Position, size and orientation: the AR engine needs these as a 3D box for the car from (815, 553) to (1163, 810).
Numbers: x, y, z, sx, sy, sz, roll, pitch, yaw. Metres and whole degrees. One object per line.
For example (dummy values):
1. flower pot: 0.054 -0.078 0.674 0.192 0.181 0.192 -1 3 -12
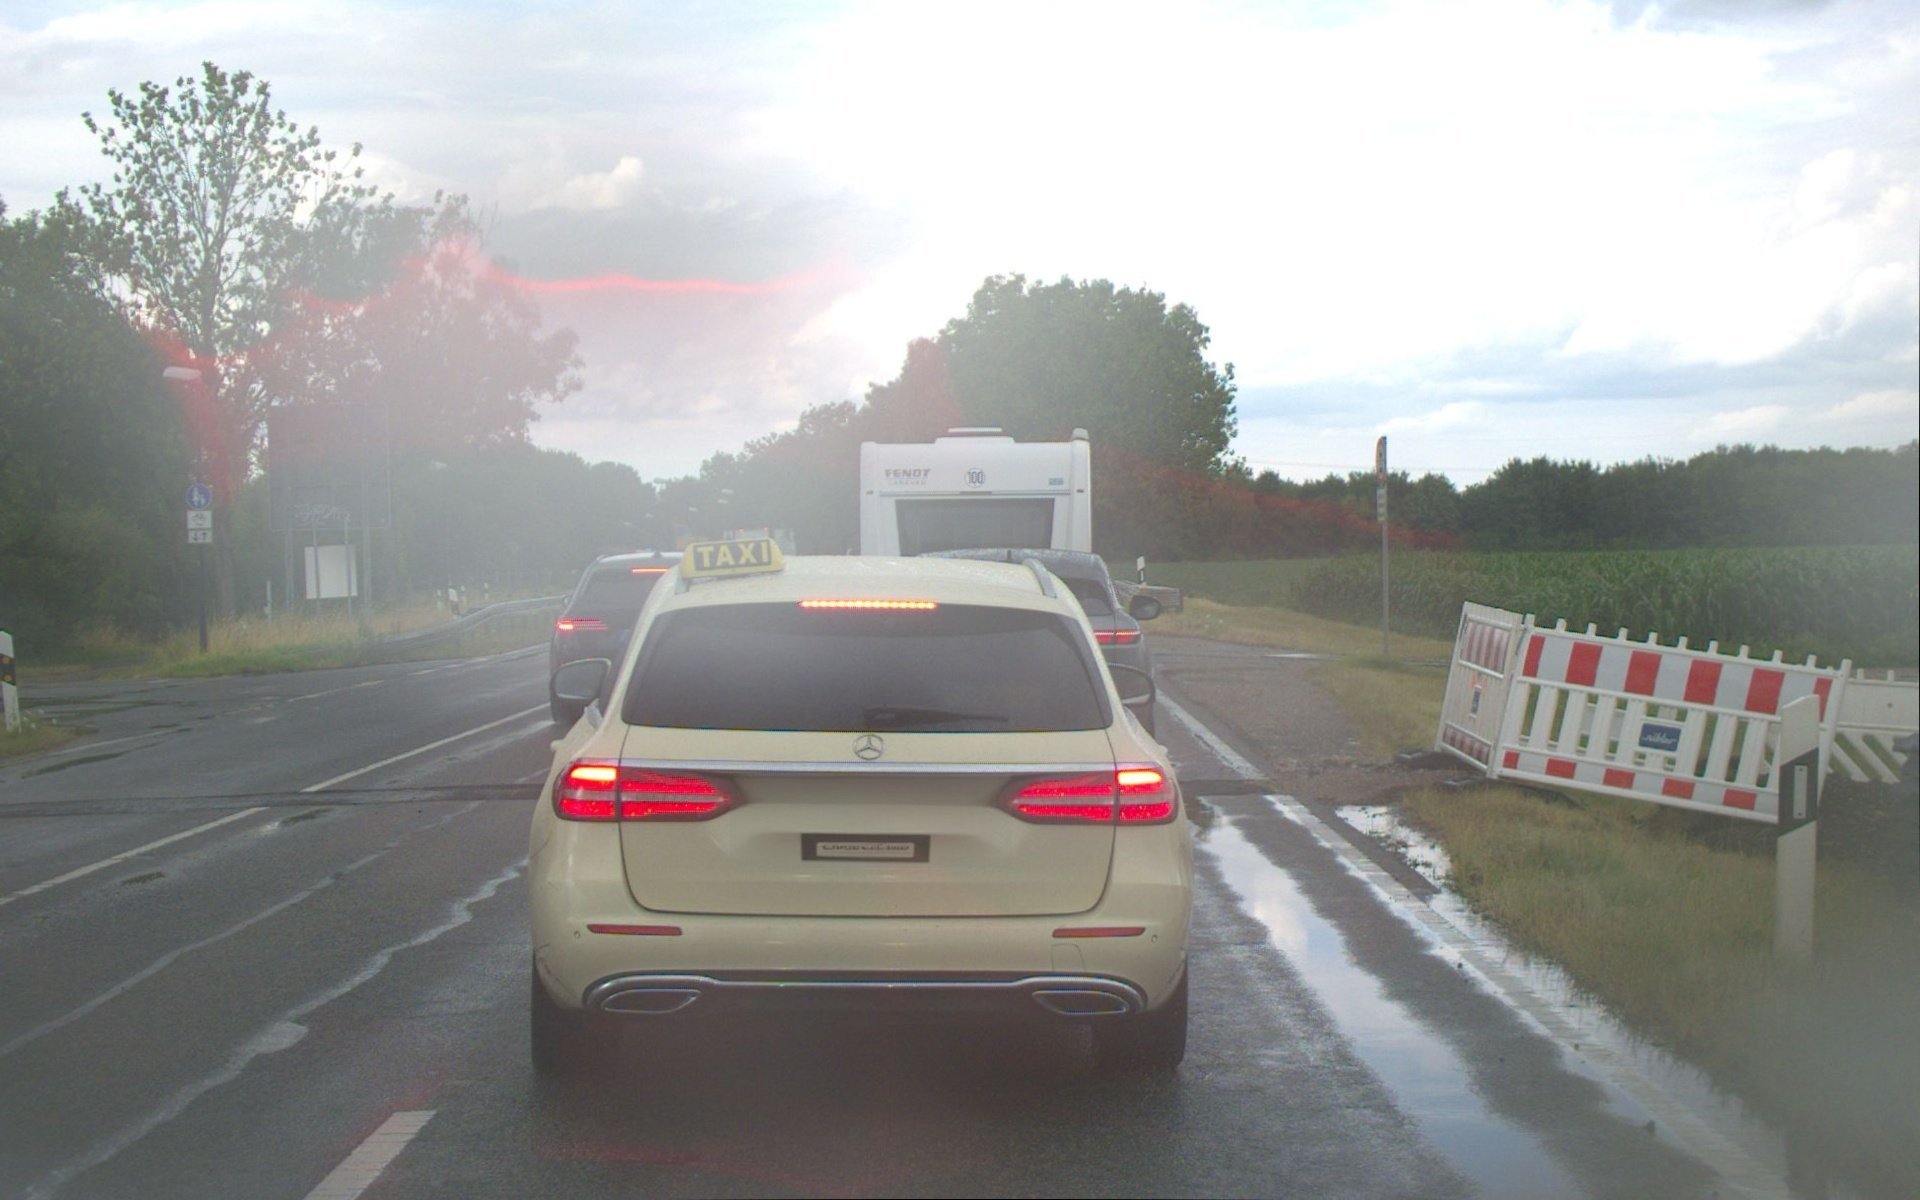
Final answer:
1. car: 0.153 0.446 21.814 1.993 1.457 4.000 1 1 0

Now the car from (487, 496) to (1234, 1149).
1. car: -0.260 0.524 10.490 1.842 1.612 4.000 0 1 0

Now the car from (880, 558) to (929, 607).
1. car: -2.083 -0.683 129.821 1.791 1.771 3.721 -1 1 0

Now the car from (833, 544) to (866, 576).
1. car: -6.747 -2.427 209.635 1.895 1.888 3.844 -1 1 -3

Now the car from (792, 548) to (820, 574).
1. car: -11.464 -2.920 255.623 1.895 1.833 3.882 -1 1 0

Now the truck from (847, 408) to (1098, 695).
1. truck: 0.101 -0.529 36.904 2.363 2.719 7.314 -1 1 0

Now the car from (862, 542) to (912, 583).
1. car: -3.305 -1.711 154.696 1.993 1.766 4.001 -1 1 -4

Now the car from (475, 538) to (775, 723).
1. car: -2.958 0.231 31.399 2.302 1.542 4.632 1 1 0
